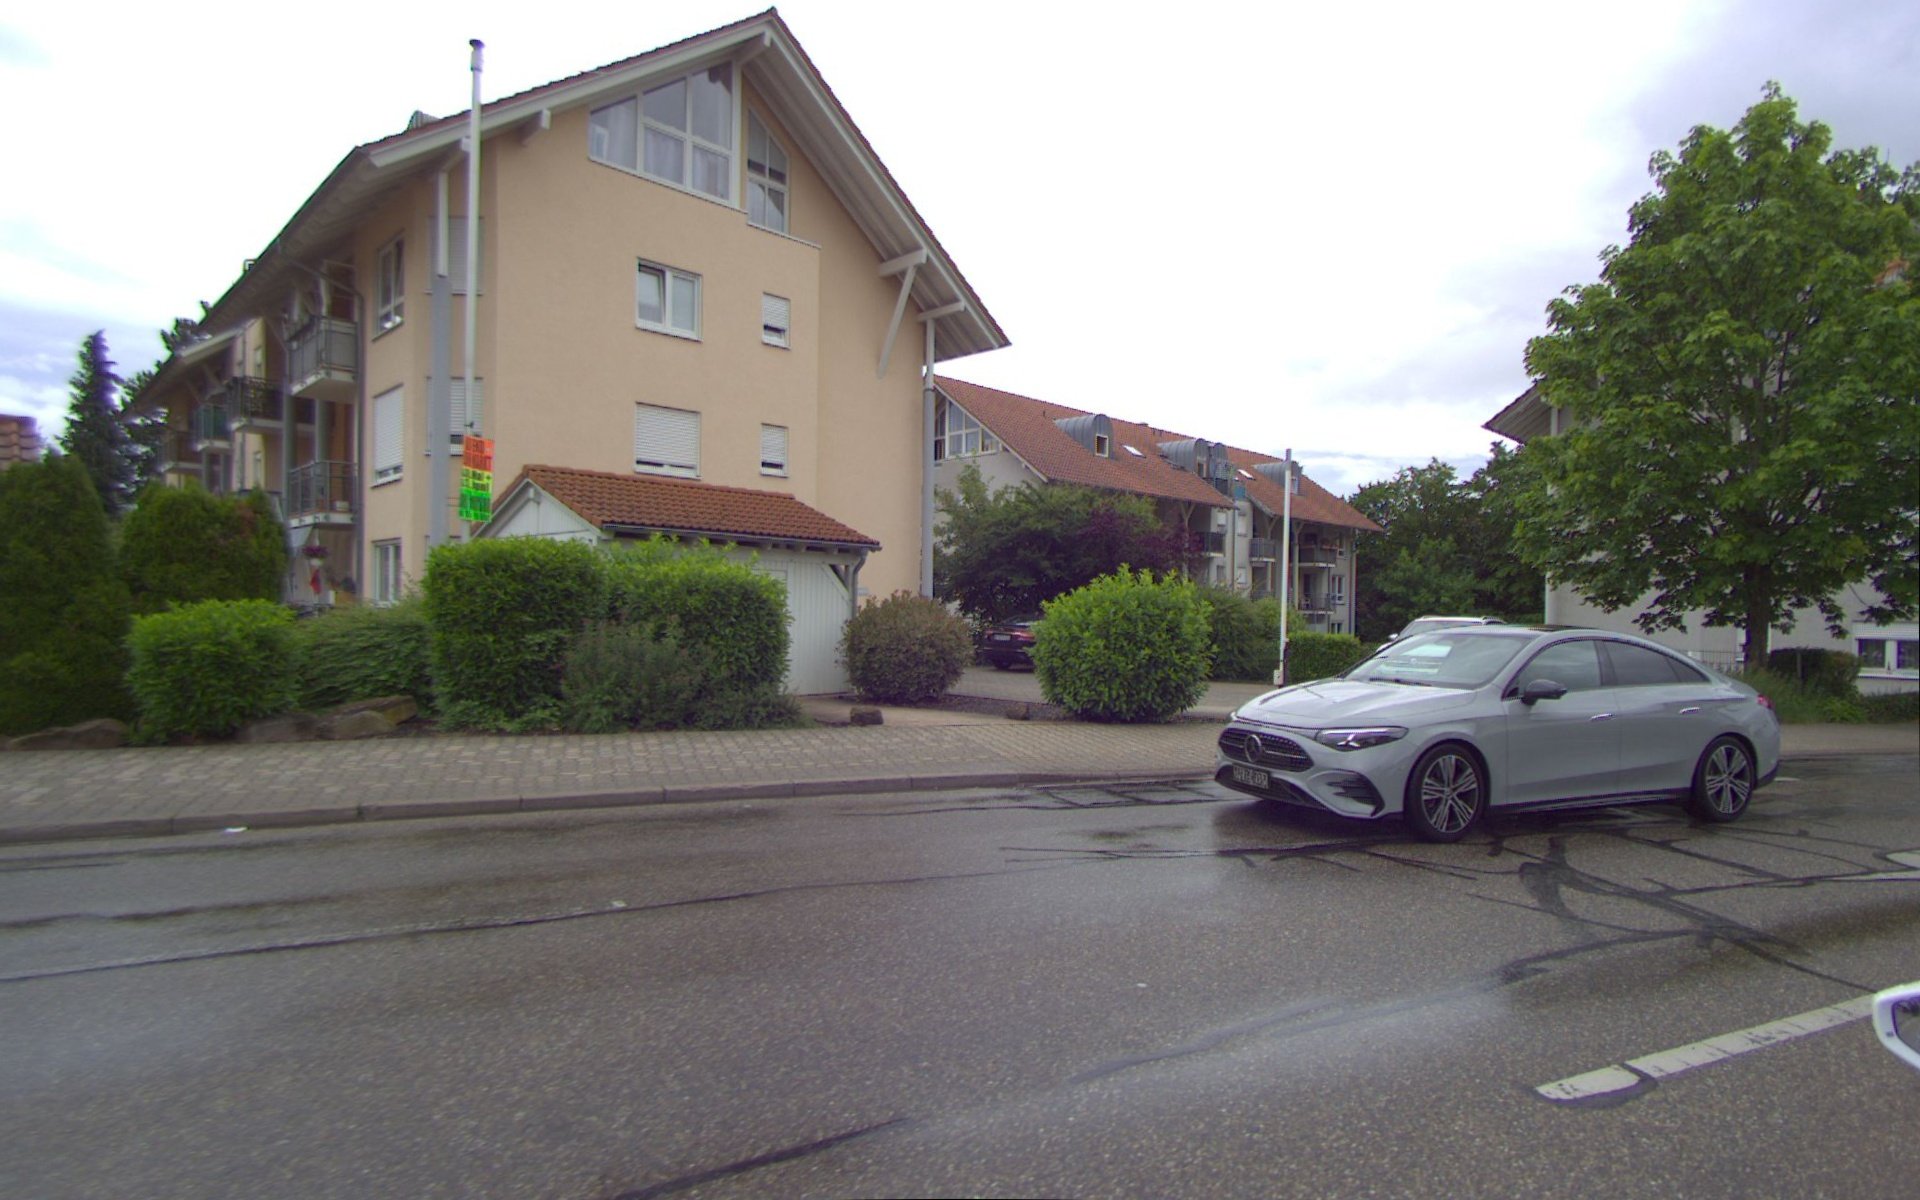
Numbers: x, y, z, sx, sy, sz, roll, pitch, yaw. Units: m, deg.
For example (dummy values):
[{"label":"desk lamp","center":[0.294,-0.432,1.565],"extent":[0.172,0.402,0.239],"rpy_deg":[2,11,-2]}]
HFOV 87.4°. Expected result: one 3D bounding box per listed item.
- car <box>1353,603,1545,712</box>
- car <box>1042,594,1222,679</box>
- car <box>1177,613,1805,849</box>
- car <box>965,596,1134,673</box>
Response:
[{"label":"car","center":[8.970,1.049,18.278],"extent":[1.972,1.672,3.977],"rpy_deg":[3,-2,44]},{"label":"car","center":[4.034,0.868,23.289],"extent":[3.969,1.672,1.976],"rpy_deg":[5,-1,-40]},{"label":"car","center":[4.125,0.854,7.871],"extent":[4.421,1.409,1.899],"rpy_deg":[1,0,-21]},{"label":"car","center":[2.308,0.890,25.356],"extent":[3.970,1.672,1.976],"rpy_deg":[5,-1,-41]}]
